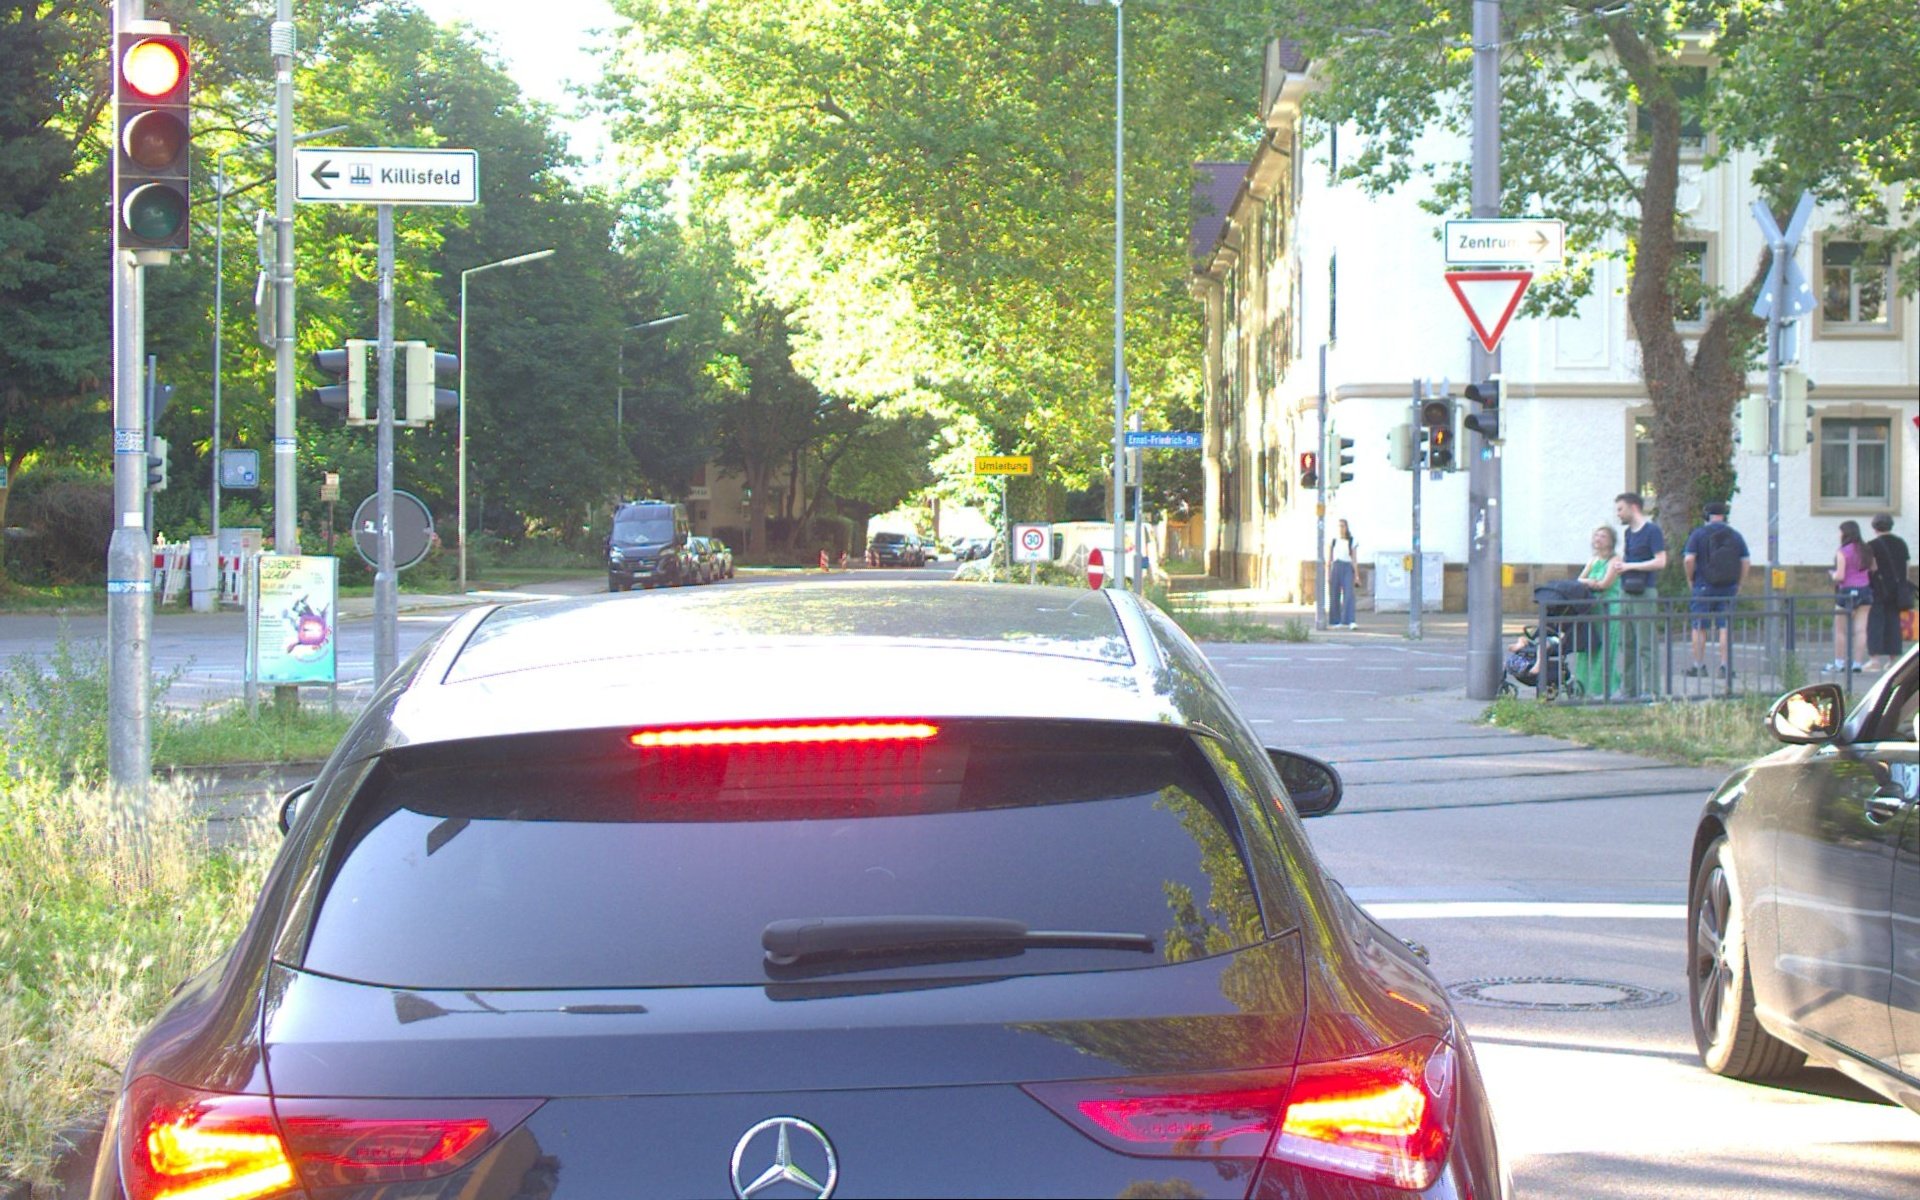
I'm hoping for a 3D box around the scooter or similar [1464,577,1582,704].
[{"bbox_3d":[4.972,0.351,30.382,0.828,1.101,0.809,1,0,-6],"label":"scooter or similar"}]

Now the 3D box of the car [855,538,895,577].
[{"bbox_3d":[-3.906,-1.960,158.460,1.733,1.759,4.019,1,1,-1],"label":"car"}]

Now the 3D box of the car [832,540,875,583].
[{"bbox_3d":[-4.486,-1.637,145.558,1.733,1.759,4.019,1,1,-1],"label":"car"}]

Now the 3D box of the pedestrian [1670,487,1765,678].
[{"bbox_3d":[7.708,-0.180,35.005,0.705,1.911,0.839,1,0,-4],"label":"pedestrian"}]

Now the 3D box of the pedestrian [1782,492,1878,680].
[{"bbox_3d":[9.020,-0.148,35.665,0.705,1.911,0.839,1,0,-4],"label":"pedestrian"}]

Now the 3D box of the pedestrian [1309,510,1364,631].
[{"bbox_3d":[6.034,-0.479,55.094,0.705,1.911,0.839,1,0,-4],"label":"pedestrian"}]

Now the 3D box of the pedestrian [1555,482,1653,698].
[{"bbox_3d":[5.781,-0.093,30.886,0.682,1.911,0.707,1,0,-4],"label":"pedestrian"}]

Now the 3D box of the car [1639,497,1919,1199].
[{"bbox_3d":[2.874,0.586,7.350,1.889,1.485,4.382,1,3,-1],"label":"car"}]

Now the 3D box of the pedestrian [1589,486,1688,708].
[{"bbox_3d":[5.939,-0.031,30.114,0.682,1.911,0.707,1,0,-2],"label":"pedestrian"}]

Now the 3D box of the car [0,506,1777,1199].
[{"bbox_3d":[-0.145,0.642,5.338,1.889,1.445,4.001,1,3,1],"label":"car"}]

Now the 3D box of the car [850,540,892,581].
[{"bbox_3d":[-3.883,-1.737,150.378,1.733,1.759,4.019,1,1,-1],"label":"car"}]

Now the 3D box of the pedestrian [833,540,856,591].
[{"bbox_3d":[-4.371,-1.315,130.022,0.705,1.911,0.839,1,0,-10],"label":"pedestrian"}]

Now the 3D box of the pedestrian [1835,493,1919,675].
[{"bbox_3d":[9.830,-0.176,36.665,0.705,1.911,0.839,1,0,-4],"label":"pedestrian"}]

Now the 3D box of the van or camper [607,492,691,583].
[{"bbox_3d":[-8.998,-1.797,99.733,1.993,2.532,4.651,1,1,0],"label":"van or camper"}]

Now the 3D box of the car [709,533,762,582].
[{"bbox_3d":[-8.232,-1.557,126.398,1.733,1.759,3.971,1,1,-1],"label":"car"}]
